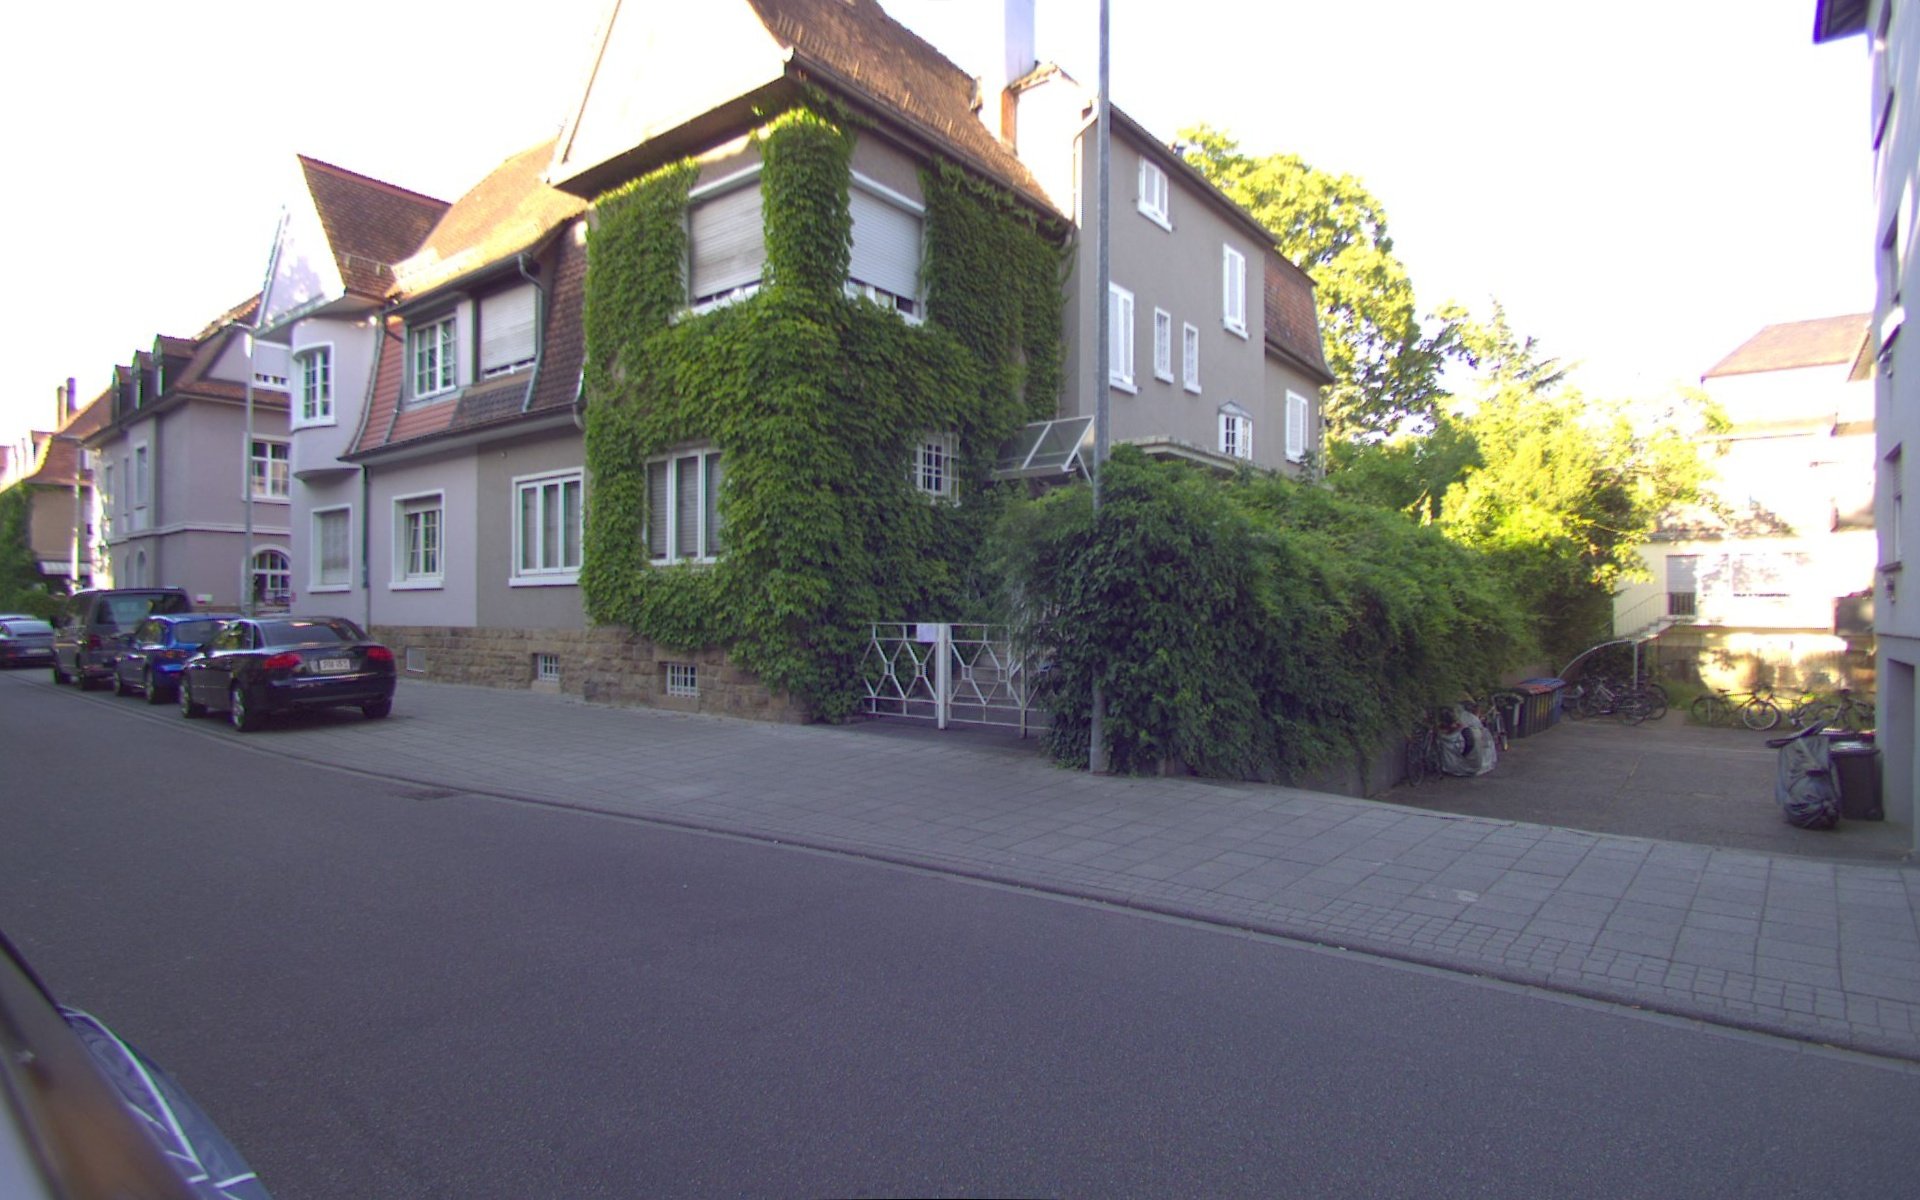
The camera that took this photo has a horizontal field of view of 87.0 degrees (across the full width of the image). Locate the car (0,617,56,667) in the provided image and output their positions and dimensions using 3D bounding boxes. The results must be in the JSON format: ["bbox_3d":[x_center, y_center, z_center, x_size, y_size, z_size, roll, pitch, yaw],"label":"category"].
[{"bbox_3d":[-30.180,1.304,32.033,4.061,1.478,1.907,-1,1,42],"label":"car"}]

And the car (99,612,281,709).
[{"bbox_3d":[-13.644,0.987,17.848,4.060,1.457,1.745,-1,1,41],"label":"car"}]

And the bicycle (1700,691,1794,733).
[{"bbox_3d":[18.886,2.671,24.303,1.754,0.886,0.558,-1,-4,42],"label":"bicycle"}]

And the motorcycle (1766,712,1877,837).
[{"bbox_3d":[10.700,2.119,12.627,0.742,1.305,1.565,-1,-2,30],"label":"motorcycle"}]

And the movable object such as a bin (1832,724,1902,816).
[{"bbox_3d":[12.291,2.280,13.730,0.611,1.123,0.792,-1,-4,37],"label":"movable object such as a bin"}]

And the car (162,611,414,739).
[{"bbox_3d":[-9.429,0.916,14.049,4.426,1.457,1.783,-1,1,41],"label":"car"}]

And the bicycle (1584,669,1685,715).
[{"bbox_3d":[19.193,2.607,28.832,2.338,1.186,0.685,-1,-4,42],"label":"bicycle"}]

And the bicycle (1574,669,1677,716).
[{"bbox_3d":[18.609,2.560,28.337,2.338,1.186,0.685,-1,-4,42],"label":"bicycle"}]

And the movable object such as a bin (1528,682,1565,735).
[{"bbox_3d":[13.171,2.420,22.718,0.611,1.123,0.792,-1,-4,37],"label":"movable object such as a bin"}]

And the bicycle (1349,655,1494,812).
[{"bbox_3d":[6.817,1.788,14.755,0.971,1.907,4.138,-1,-3,38],"label":"bicycle"}]

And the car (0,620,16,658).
[{"bbox_3d":[-36.331,1.449,37.510,3.676,1.372,1.641,-1,1,42],"label":"car"}]

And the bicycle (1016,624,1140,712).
[{"bbox_3d":[1.694,0.914,14.188,0.476,1.111,2.172,-1,-1,45],"label":"bicycle"}]

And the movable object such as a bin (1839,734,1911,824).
[{"bbox_3d":[11.709,2.275,12.968,0.611,1.045,0.532,-1,-4,37],"label":"movable object such as a bin"}]

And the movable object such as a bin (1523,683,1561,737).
[{"bbox_3d":[12.695,2.385,22.076,0.611,1.123,0.792,-1,-4,37],"label":"movable object such as a bin"}]

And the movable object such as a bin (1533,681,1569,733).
[{"bbox_3d":[13.641,2.453,23.350,0.611,1.123,0.792,-1,-4,37],"label":"movable object such as a bin"}]

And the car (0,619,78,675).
[{"bbox_3d":[-26.166,1.273,28.299,4.063,1.394,1.906,-1,1,44],"label":"car"}]

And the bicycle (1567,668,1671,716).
[{"bbox_3d":[18.051,2.505,27.770,2.338,1.186,0.685,-1,-4,42],"label":"bicycle"}]

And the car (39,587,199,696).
[{"bbox_3d":[-17.532,0.794,21.018,4.610,1.990,1.819,-1,1,41],"label":"car"}]

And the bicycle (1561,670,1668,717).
[{"bbox_3d":[17.500,2.483,27.117,2.338,1.142,0.685,-1,-4,42],"label":"bicycle"}]

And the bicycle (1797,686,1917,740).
[{"bbox_3d":[20.363,2.545,23.028,2.005,1.080,0.558,-1,-4,42],"label":"bicycle"}]

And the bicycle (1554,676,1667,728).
[{"bbox_3d":[16.233,2.528,25.304,2.294,1.142,0.685,-1,-4,42],"label":"bicycle"}]
